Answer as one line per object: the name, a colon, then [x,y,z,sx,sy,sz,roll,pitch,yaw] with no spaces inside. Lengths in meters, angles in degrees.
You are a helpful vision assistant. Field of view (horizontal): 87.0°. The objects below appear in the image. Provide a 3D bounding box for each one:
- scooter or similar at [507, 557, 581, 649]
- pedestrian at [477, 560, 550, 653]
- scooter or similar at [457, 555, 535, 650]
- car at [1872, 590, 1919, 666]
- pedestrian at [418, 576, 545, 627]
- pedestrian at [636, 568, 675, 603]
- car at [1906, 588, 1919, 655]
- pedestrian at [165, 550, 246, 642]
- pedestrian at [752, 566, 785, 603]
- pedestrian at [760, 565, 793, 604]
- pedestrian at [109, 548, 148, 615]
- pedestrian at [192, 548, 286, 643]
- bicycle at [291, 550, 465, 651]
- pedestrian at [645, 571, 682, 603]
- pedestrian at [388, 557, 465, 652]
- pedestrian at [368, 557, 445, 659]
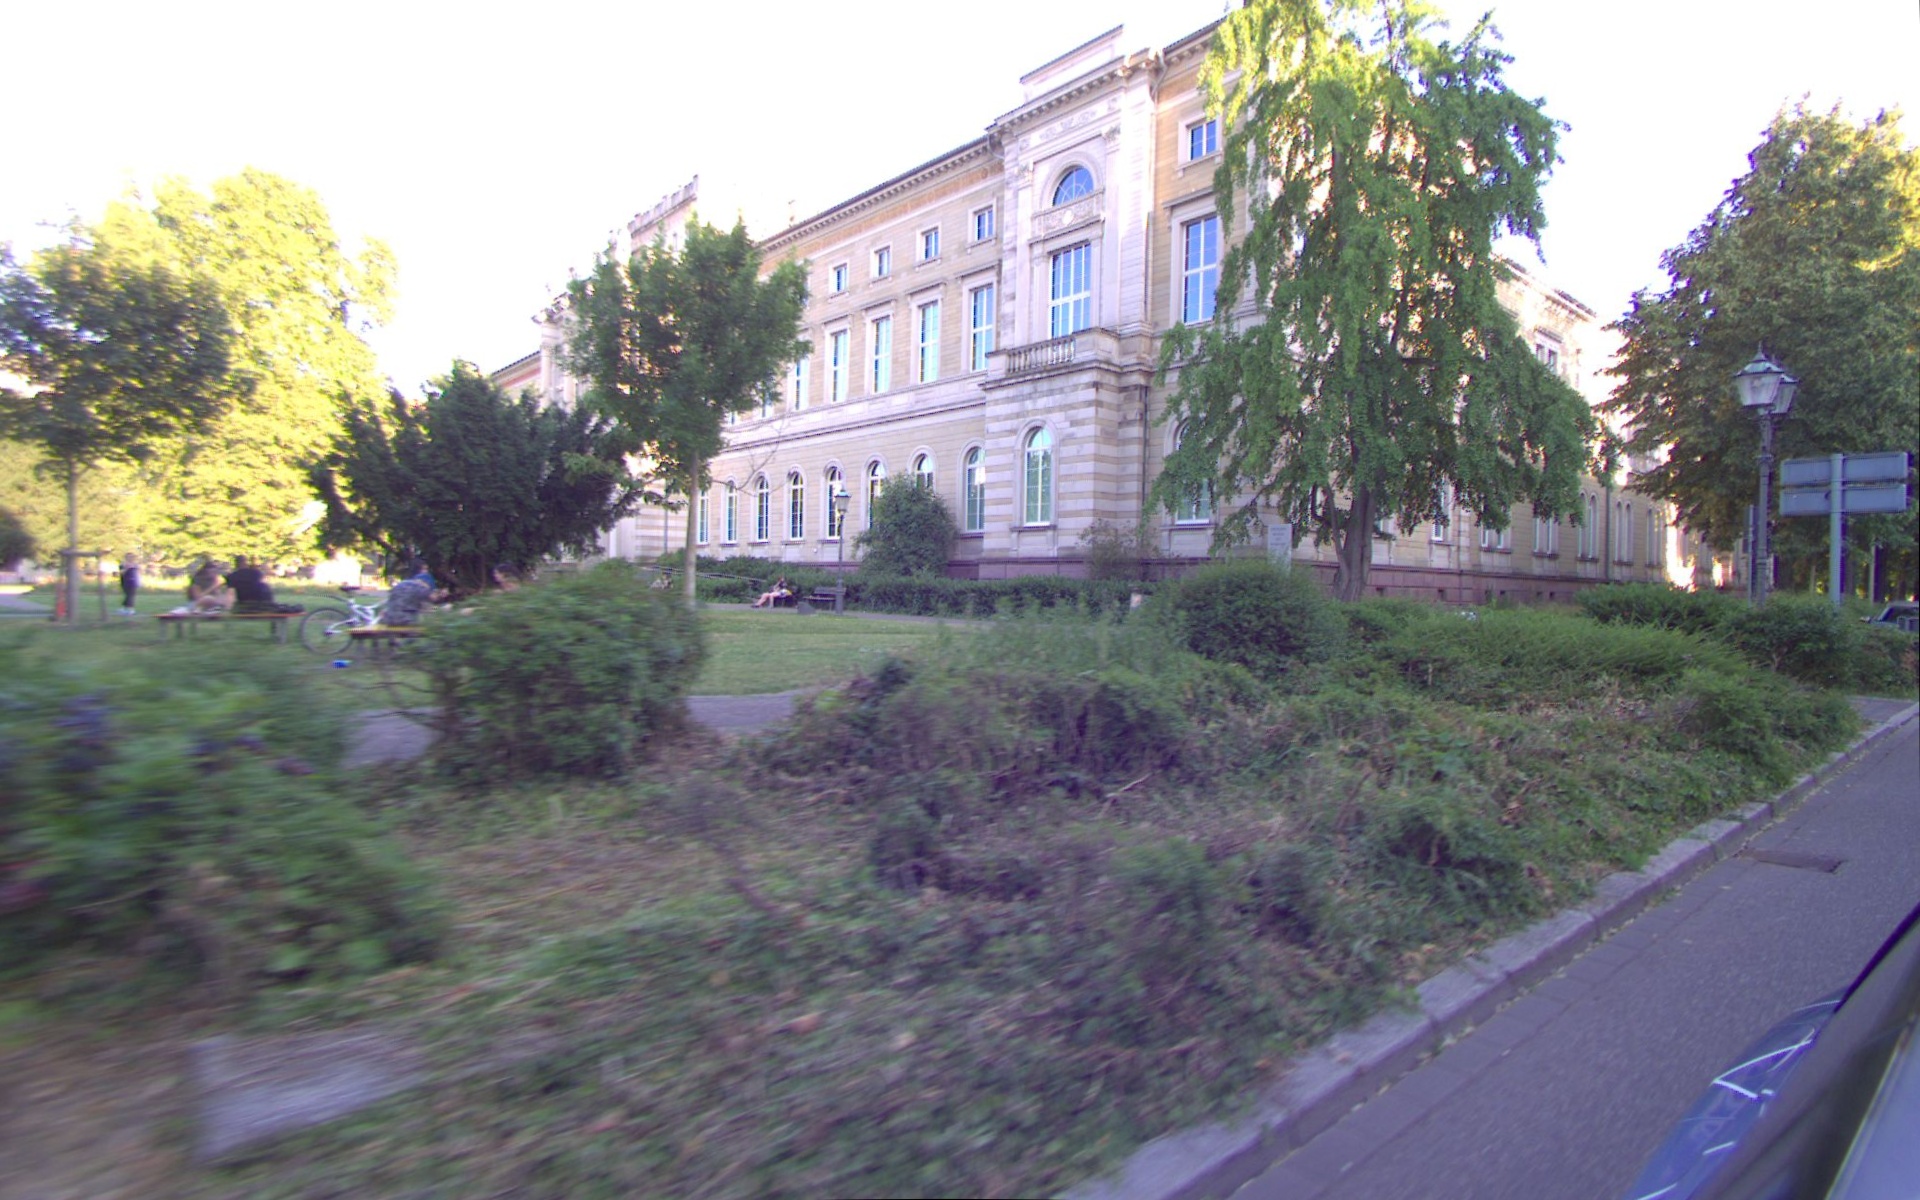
scooter or similar: [-5.926,0.024,14.407,1.214,1.261,0.413,2,1,37]
pedestrian: [-5.948,0.079,13.514,0.778,1.206,0.666,1,1,-13]
scooter or similar: [-6.482,0.015,14.129,1.212,1.261,0.413,2,1,34]
car: [21.684,0.614,22.373,4.532,1.506,1.727,0,5,-42]
pedestrian: [-5.945,0.004,12.625,0.537,0.556,1.363,5,4,29]
pedestrian: [-14.062,-0.673,46.769,1.540,1.575,0.801,0,1,-41]
car: [26.000,0.539,26.017,4.627,1.672,1.729,-1,2,-38]
pedestrian: [-11.549,-0.076,15.496,0.756,1.364,0.778,2,1,33]
pedestrian: [-7.400,-0.587,39.027,1.026,1.414,0.695,0,1,-40]
pedestrian: [-6.936,-0.586,38.260,1.026,1.414,0.695,0,1,-40]
pedestrian: [-22.199,-0.502,27.007,0.746,1.769,0.771,0,1,-44]
pedestrian: [-10.762,-0.085,15.112,0.913,1.364,0.874,2,1,34]
bicycle: [-8.017,-0.009,14.007,0.619,1.316,1.986,2,2,45]
pedestrian: [-13.432,-0.592,45.874,1.427,1.414,0.695,0,1,-41]
pedestrian: [-7.023,0.045,13.313,0.775,1.206,0.809,0,1,-37]
pedestrian: [-6.826,0.079,12.476,0.733,1.206,0.724,0,1,-37]
